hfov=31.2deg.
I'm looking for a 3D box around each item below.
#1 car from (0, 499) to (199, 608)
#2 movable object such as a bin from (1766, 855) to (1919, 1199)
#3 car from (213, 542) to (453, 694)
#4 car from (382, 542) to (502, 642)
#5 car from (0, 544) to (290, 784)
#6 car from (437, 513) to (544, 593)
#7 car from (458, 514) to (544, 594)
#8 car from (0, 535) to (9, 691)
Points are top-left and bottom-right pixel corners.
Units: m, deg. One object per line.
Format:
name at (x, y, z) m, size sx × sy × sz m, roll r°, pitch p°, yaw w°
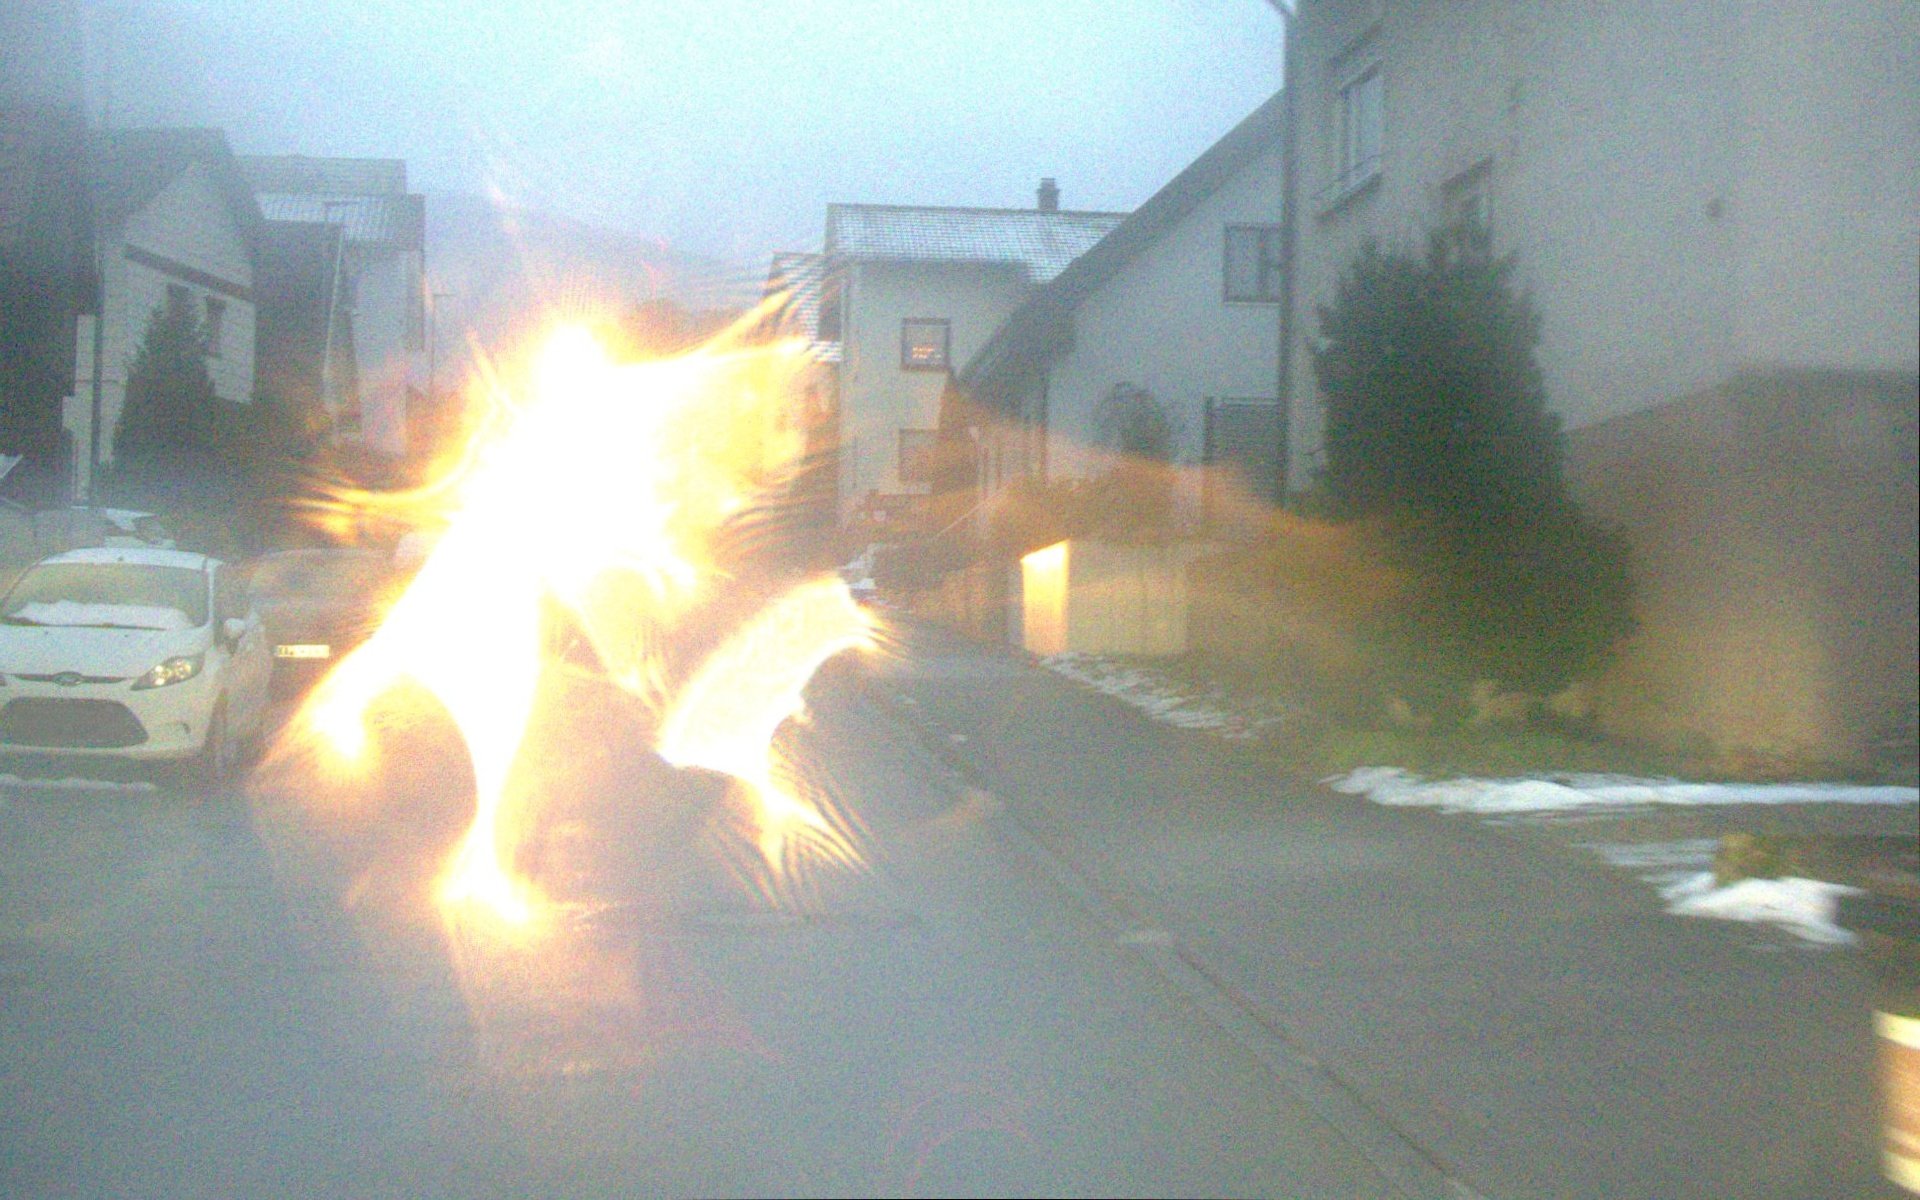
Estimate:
car at (-13.871, -0.727, 52.699) m, size 3.987 × 1.612 × 1.889 m, roll 1°, pitch 1°, yaw -1°
movable object such as a bin at (1.743, 0.917, 5.739) m, size 0.637 × 0.914 × 0.686 m, roll 0°, pitch 1°, yaw 1°
car at (-6.249, 0.130, 34.767) m, size 1.877 × 1.389 × 5.076 m, roll -1°, pitch 1°, yaw -5°
car at (-8.623, -0.161, 57.498) m, size 1.683 × 1.579 × 4.176 m, roll -1°, pitch 1°, yaw -5°
car at (-5.446, 0.363, 22.628) m, size 1.618 × 1.433 × 3.657 m, roll -1°, pitch 1°, yaw -5°
car at (-9.485, -0.979, 69.672) m, size 1.794 × 1.498 × 4.310 m, roll -1°, pitch 2°, yaw -3°
car at (-11.095, -1.142, 83.266) m, size 1.825 × 1.828 × 4.346 m, roll -1°, pitch 2°, yaw -5°
car at (-11.110, 0.122, 33.018) m, size 3.464 × 1.523 × 1.774 m, roll 1°, pitch 1°, yaw -1°
